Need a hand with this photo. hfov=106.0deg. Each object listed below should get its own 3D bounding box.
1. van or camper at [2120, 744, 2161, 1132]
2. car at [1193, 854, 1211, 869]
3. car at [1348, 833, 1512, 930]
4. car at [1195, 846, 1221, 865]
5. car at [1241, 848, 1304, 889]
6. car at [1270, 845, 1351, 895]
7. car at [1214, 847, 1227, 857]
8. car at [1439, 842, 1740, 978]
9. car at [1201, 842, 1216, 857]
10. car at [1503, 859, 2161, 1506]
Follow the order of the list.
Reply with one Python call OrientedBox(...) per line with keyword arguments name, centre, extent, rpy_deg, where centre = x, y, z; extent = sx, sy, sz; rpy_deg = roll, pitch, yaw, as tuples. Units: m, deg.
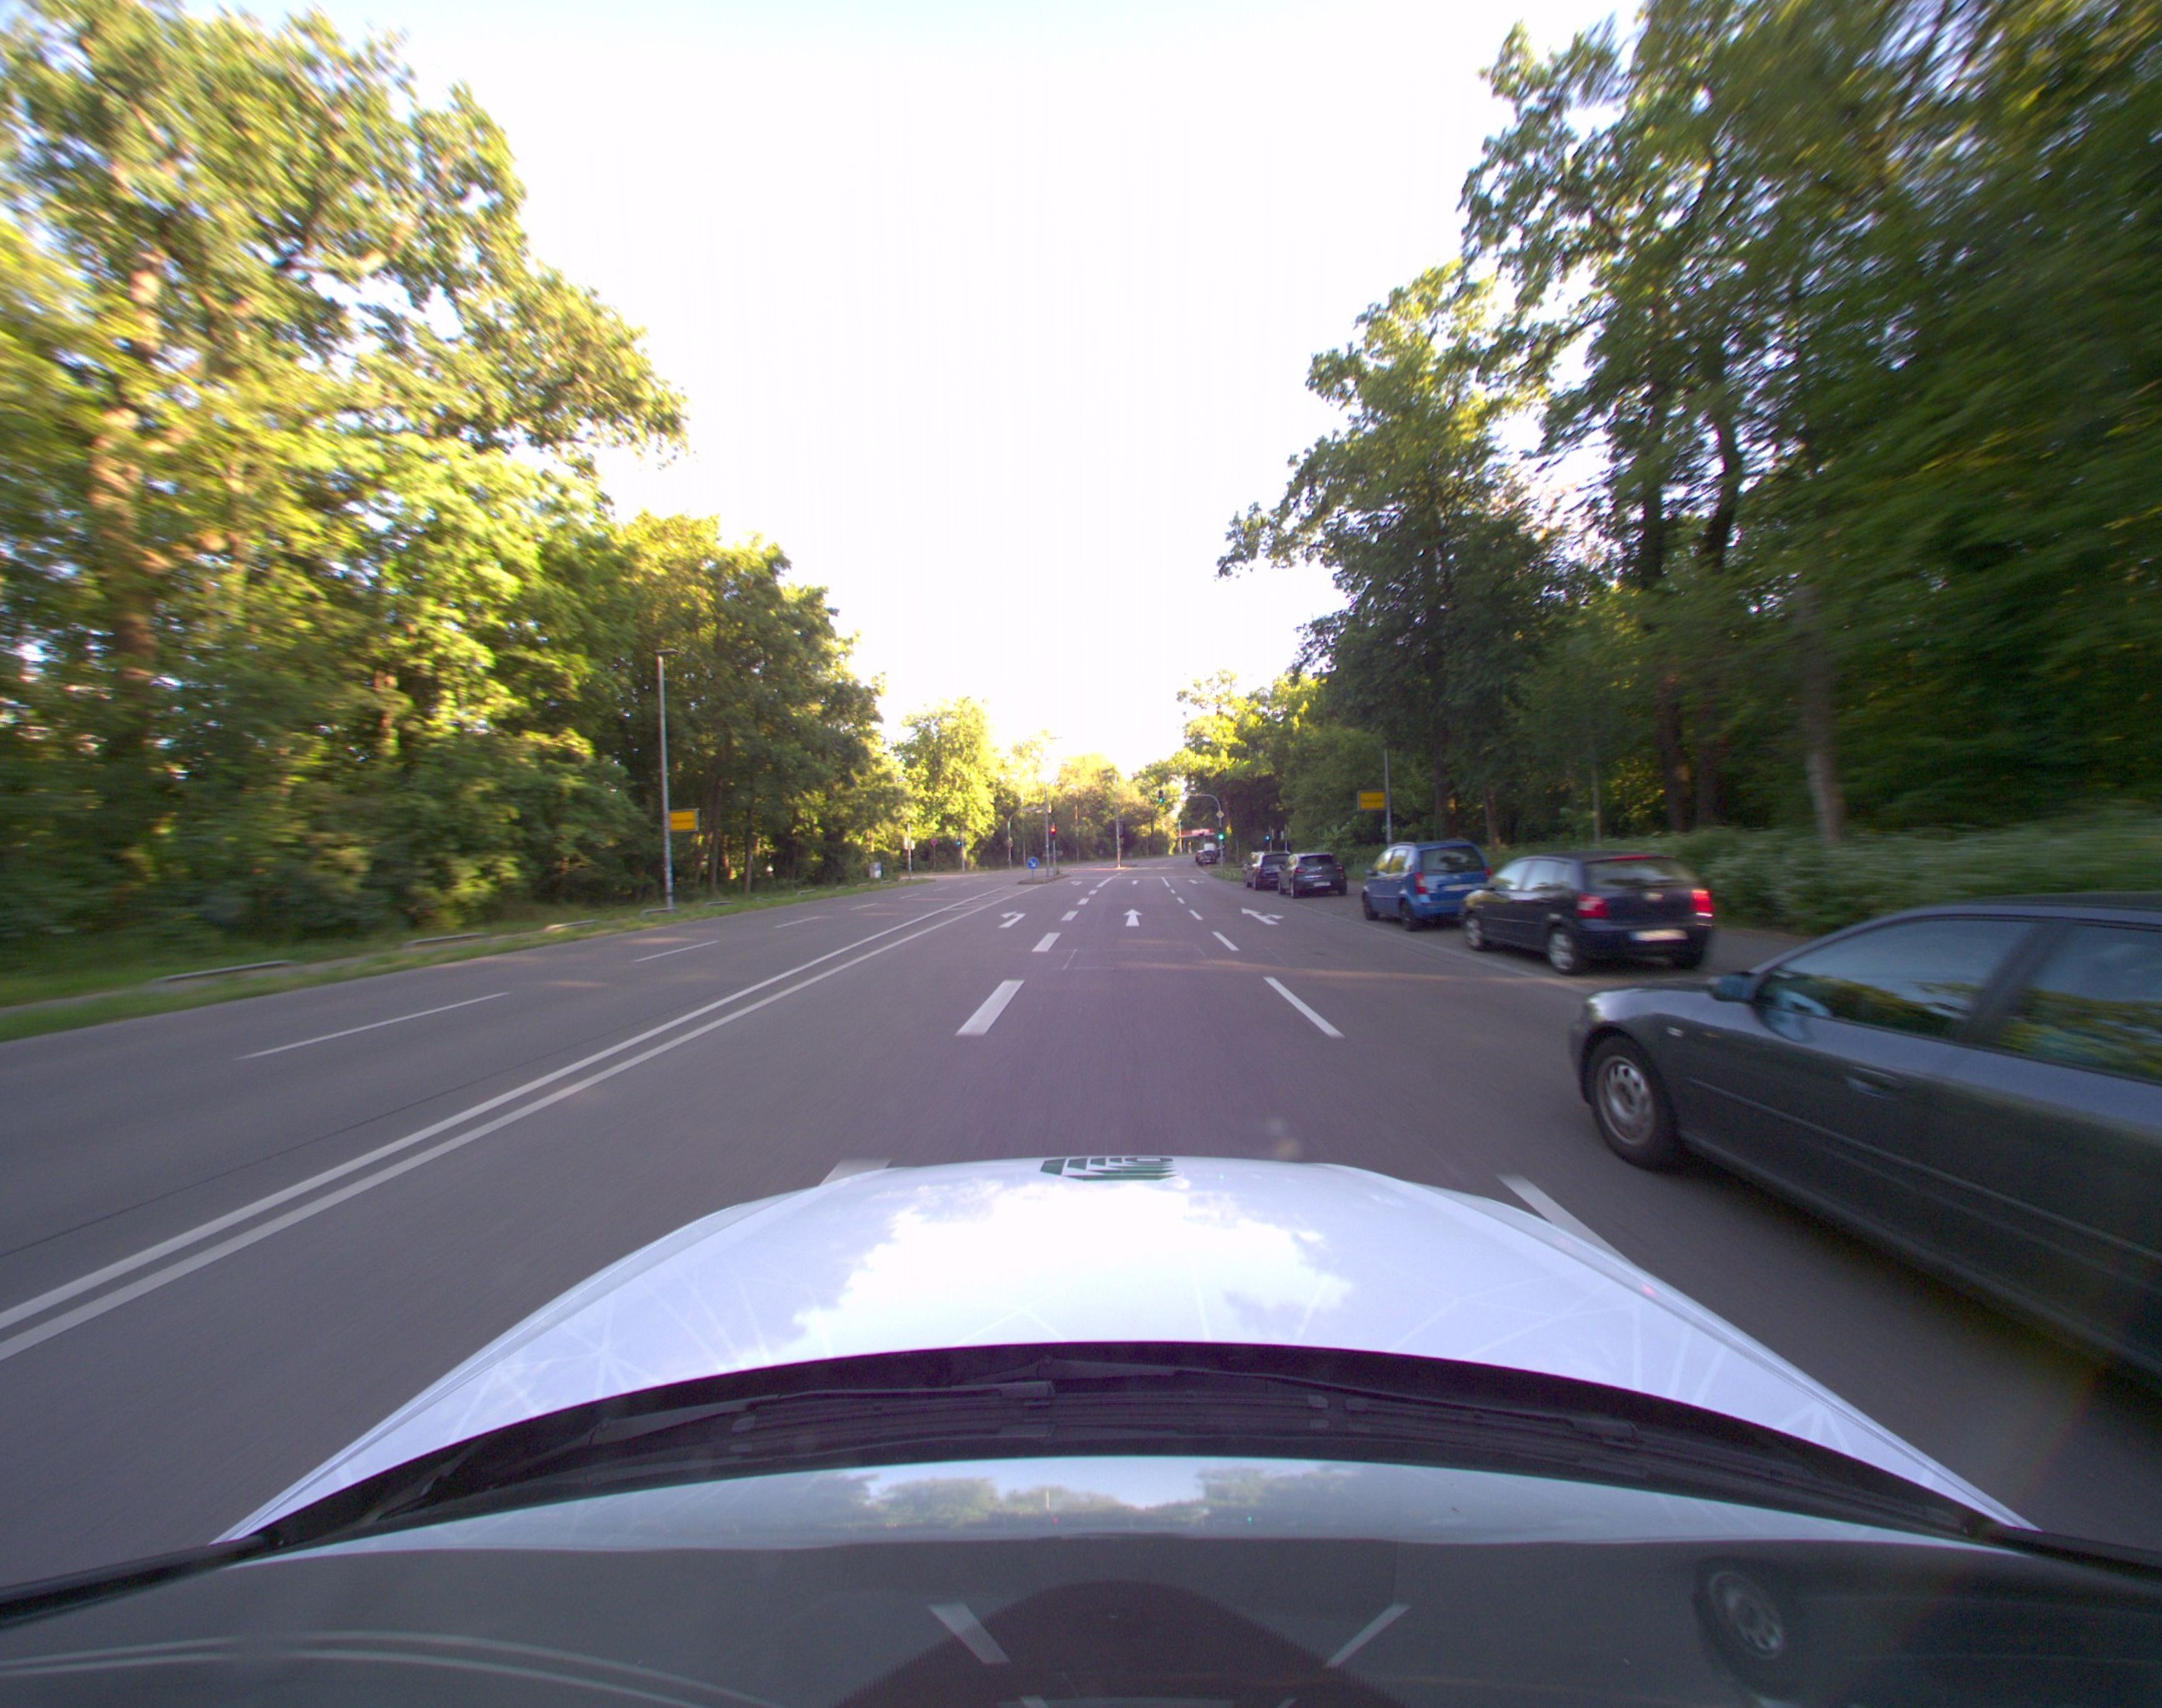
OrientedBox(name="van or camper", centre=(6.343, 0.422, 1.607), extent=(1.825, 1.970, 5.342), rpy_deg=(-1, 0, 1))
OrientedBox(name="car", centre=(15.052, 0.943, 101.541), extent=(1.983, 1.618, 4.009), rpy_deg=(-5, 0, 7))
OrientedBox(name="car", centre=(6.913, 0.491, 16.625), extent=(1.721, 1.704, 4.092), rpy_deg=(-2, 0, 2))
OrientedBox(name="car", centre=(12.428, 0.131, 79.938), extent=(1.986, 1.618, 4.003), rpy_deg=(-5, 0, 2))
OrientedBox(name="car", centre=(7.646, 0.538, 32.797), extent=(1.720, 1.461, 4.171), rpy_deg=(-3, 0, 3))
OrientedBox(name="car", centre=(7.613, 0.499, 27.378), extent=(1.720, 1.490, 4.094), rpy_deg=(-2, 0, 3))
OrientedBox(name="car", centre=(27.460, -0.435, 160.438), extent=(1.984, 1.904, 4.005), rpy_deg=(-1, 0, 4))
OrientedBox(name="car", centre=(6.584, 0.624, 11.164), extent=(1.643, 1.441, 4.115), rpy_deg=(-3, 0, 2))
OrientedBox(name="car", centre=(21.152, -0.767, 134.834), extent=(2.295, 2.335, 4.569), rpy_deg=(-1, 0, 7))
OrientedBox(name="car", centre=(3.406, 0.781, 2.928), extent=(1.721, 1.441, 4.091), rpy_deg=(-1, 0, 1))
